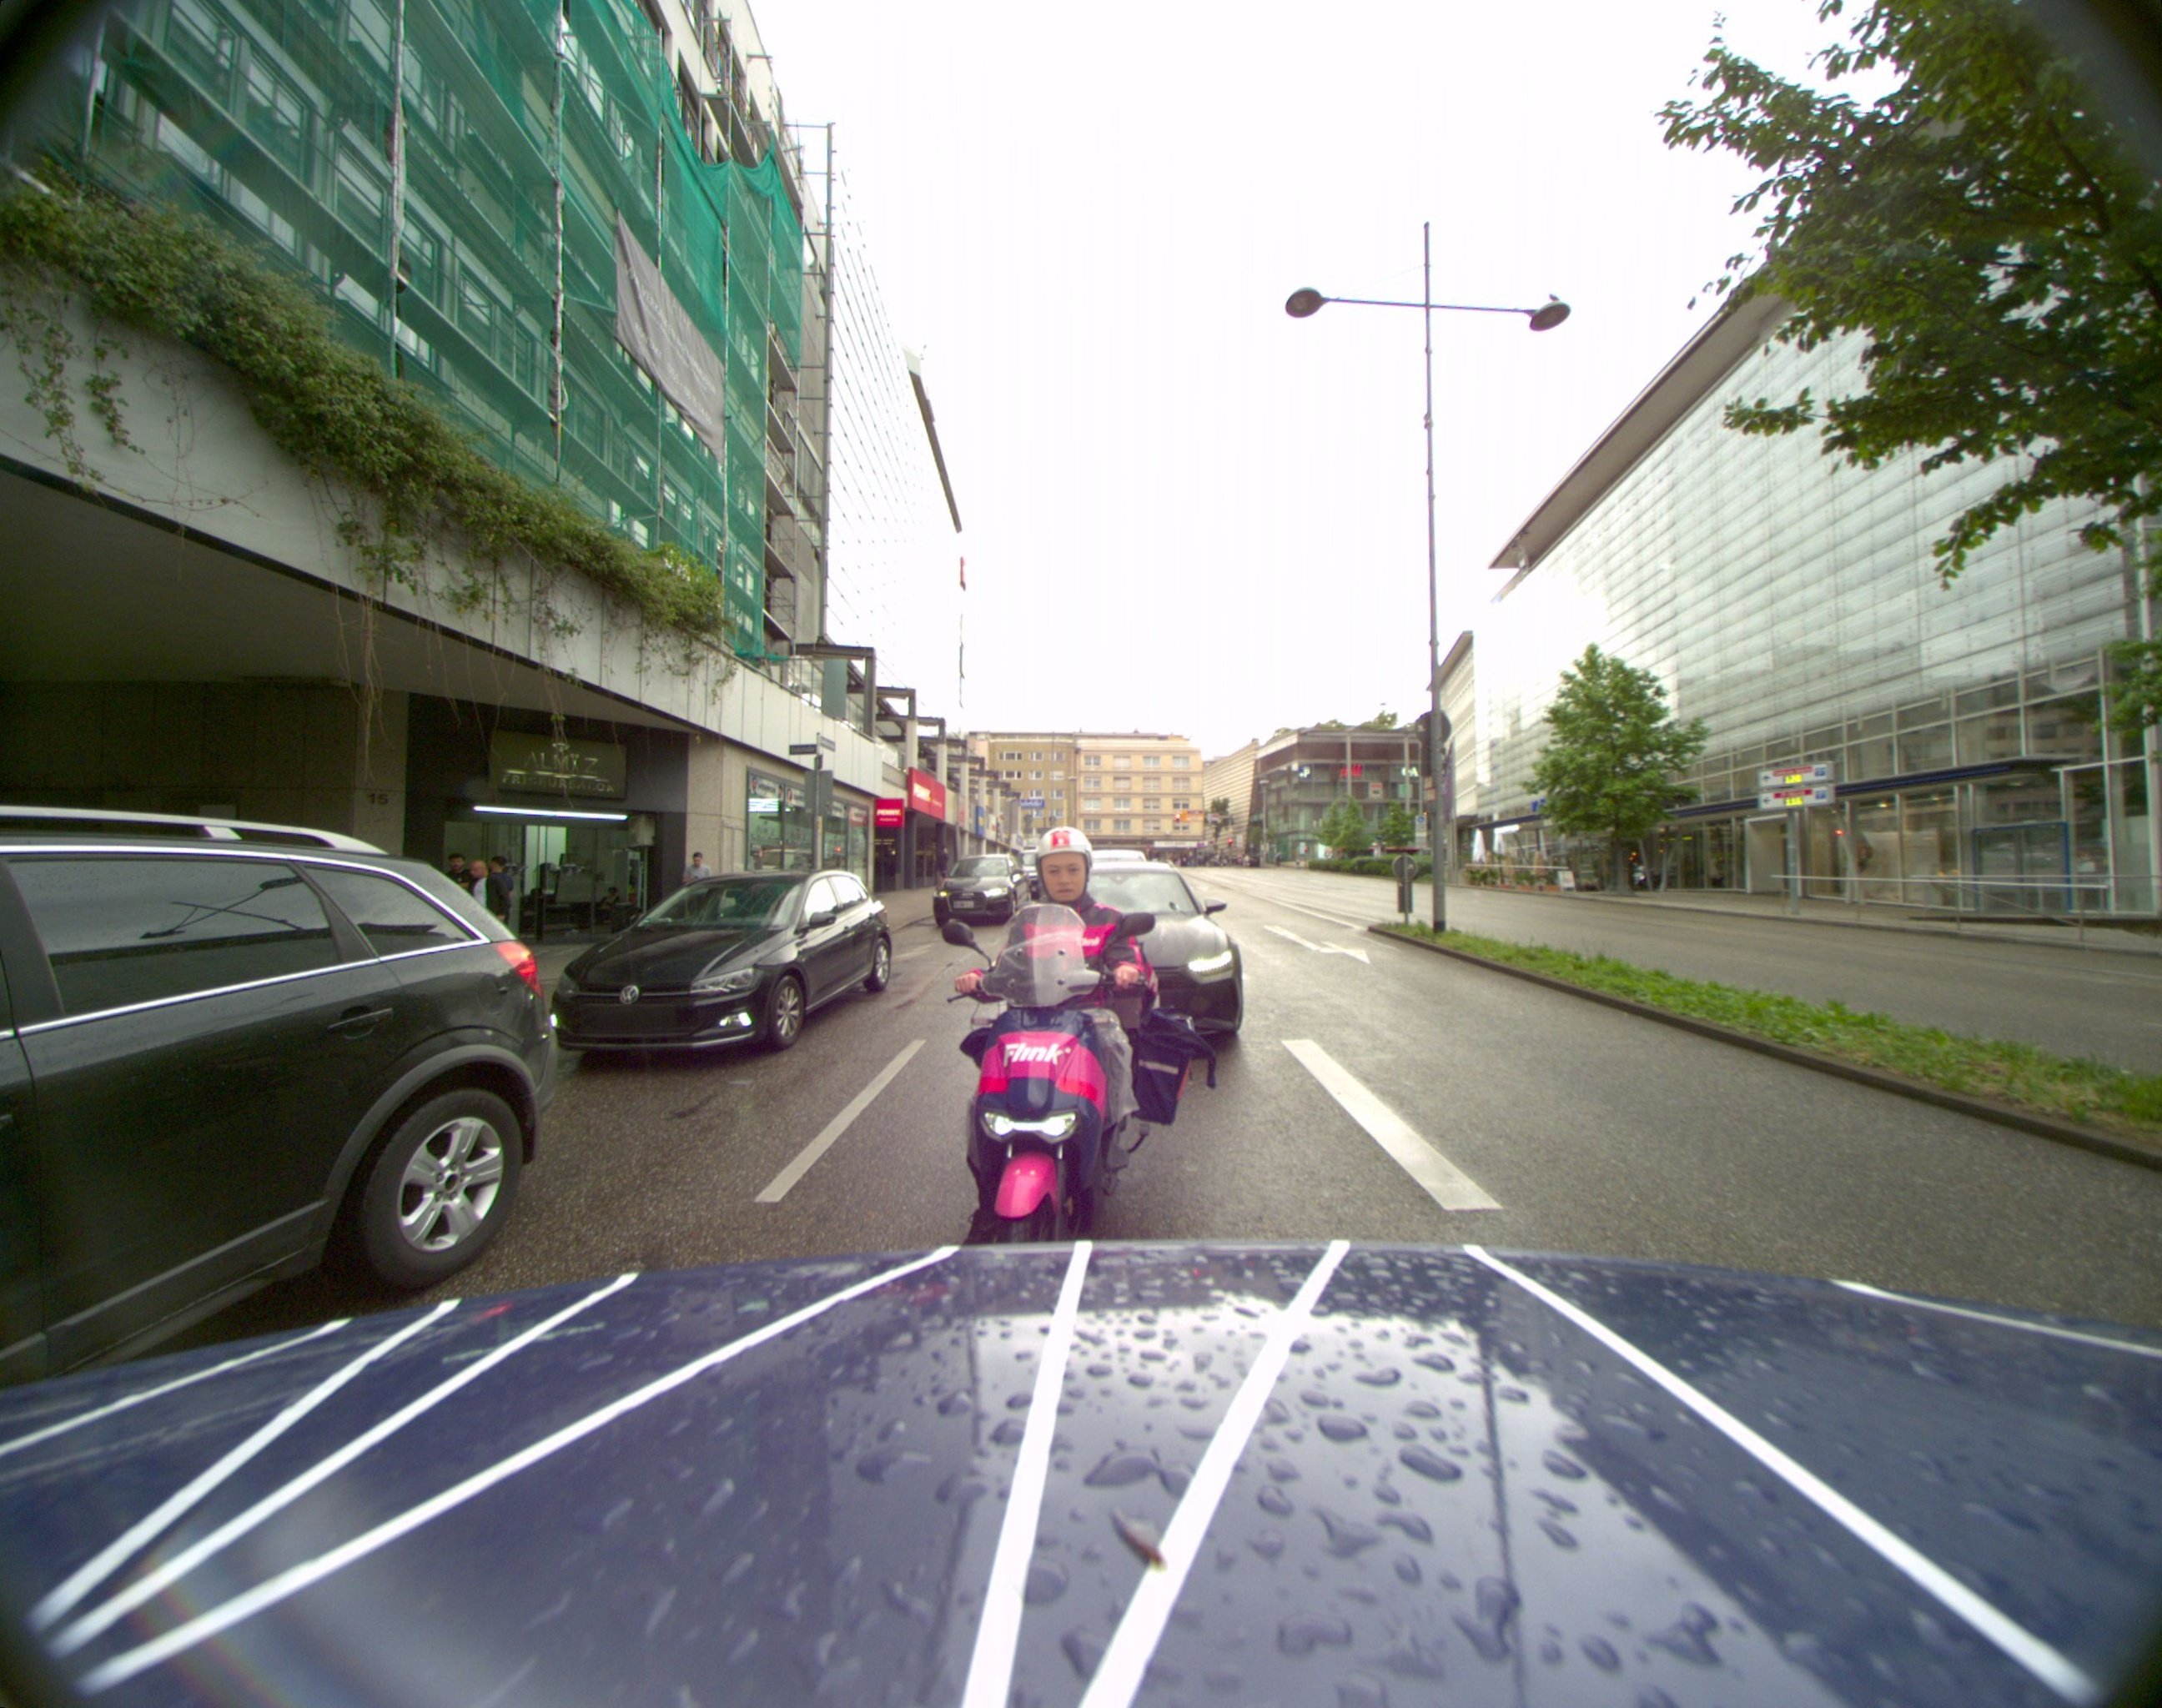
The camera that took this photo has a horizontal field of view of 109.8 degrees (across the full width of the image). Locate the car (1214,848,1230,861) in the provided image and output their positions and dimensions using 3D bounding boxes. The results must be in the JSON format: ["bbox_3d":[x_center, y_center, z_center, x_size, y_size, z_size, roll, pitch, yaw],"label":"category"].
[{"bbox_3d":[22.046,-0.001,118.782,1.998,2.002,4.589,1,1,5],"label":"car"}]

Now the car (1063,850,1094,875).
[{"bbox_3d":[-0.143,0.588,55.082,1.988,1.696,4.165,-2,-1,2],"label":"car"}]

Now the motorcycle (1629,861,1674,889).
[{"bbox_3d":[28.061,1.033,37.406,1.707,1.319,0.620,0,1,1],"label":"motorcycle"}]

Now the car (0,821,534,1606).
[{"bbox_3d":[-3.332,0.825,1.227,1.764,1.755,4.164,-2,-1,1],"label":"car"}]

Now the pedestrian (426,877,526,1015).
[{"bbox_3d":[-8.322,1.235,10.485,0.743,1.805,0.773,0,1,1],"label":"pedestrian"}]

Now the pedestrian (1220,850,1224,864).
[{"bbox_3d":[16.188,0.310,87.178,0.428,1.620,0.602,1,1,3],"label":"pedestrian"}]

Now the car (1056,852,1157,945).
[{"bbox_3d":[0.526,0.760,15.150,1.675,1.520,4.164,-2,1,2],"label":"car"}]

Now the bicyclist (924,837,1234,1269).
[{"bbox_3d":[0.000,0.715,3.146,1.063,1.534,0.825,-2,2,0],"label":"bicyclist"}]

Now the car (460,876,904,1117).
[{"bbox_3d":[-3.177,1.022,7.181,1.759,1.495,4.165,-2,-1,4],"label":"car"}]

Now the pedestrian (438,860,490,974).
[{"bbox_3d":[-9.547,0.954,11.753,0.466,1.698,0.484,0,2,42],"label":"pedestrian"}]

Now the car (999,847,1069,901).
[{"bbox_3d":[-1.579,0.682,26.933,1.988,1.696,4.165,-2,-1,2],"label":"car"}]

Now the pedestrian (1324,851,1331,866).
[{"bbox_3d":[26.493,0.472,81.633,0.633,1.620,0.602,0,1,2],"label":"pedestrian"}]

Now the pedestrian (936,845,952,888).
[{"bbox_3d":[-5.430,0.497,30.142,0.510,1.669,0.579,0,2,0],"label":"pedestrian"}]

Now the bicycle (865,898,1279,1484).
[{"bbox_3d":[-0.004,0.969,3.447,1.034,1.279,2.948,-2,1,1],"label":"bicycle"}]

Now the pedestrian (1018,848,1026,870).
[{"bbox_3d":[-4.030,0.331,52.096,0.510,1.492,0.579,0,2,0],"label":"pedestrian"}]

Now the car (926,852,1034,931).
[{"bbox_3d":[-2.278,0.791,18.250,1.841,1.598,4.164,-2,1,2],"label":"car"}]

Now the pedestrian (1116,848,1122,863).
[{"bbox_3d":[3.924,0.157,78.826,0.634,1.620,0.602,0,1,-1],"label":"pedestrian"}]

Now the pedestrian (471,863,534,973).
[{"bbox_3d":[-8.751,0.938,11.523,0.640,1.586,0.576,-3,2,-32],"label":"pedestrian"}]

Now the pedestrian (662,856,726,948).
[{"bbox_3d":[-7.143,0.874,14.047,0.638,1.633,0.734,-1,2,20],"label":"pedestrian"}]

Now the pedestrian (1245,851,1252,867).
[{"bbox_3d":[18.813,0.542,85.396,0.626,1.764,0.689,-2,2,7],"label":"pedestrian"}]

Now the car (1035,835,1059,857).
[{"bbox_3d":[-3.107,-0.768,70.617,1.605,2.002,3.400,-2,1,7],"label":"car"}]

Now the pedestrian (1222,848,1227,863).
[{"bbox_3d":[15.941,0.162,84.572,0.428,1.620,0.602,1,1,5],"label":"pedestrian"}]

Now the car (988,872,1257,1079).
[{"bbox_3d":[0.384,0.930,7.562,1.890,1.391,4.165,-2,-1,2],"label":"car"}]

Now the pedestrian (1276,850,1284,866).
[{"bbox_3d":[22.293,0.446,85.111,0.626,1.764,0.689,-2,2,5],"label":"pedestrian"}]
